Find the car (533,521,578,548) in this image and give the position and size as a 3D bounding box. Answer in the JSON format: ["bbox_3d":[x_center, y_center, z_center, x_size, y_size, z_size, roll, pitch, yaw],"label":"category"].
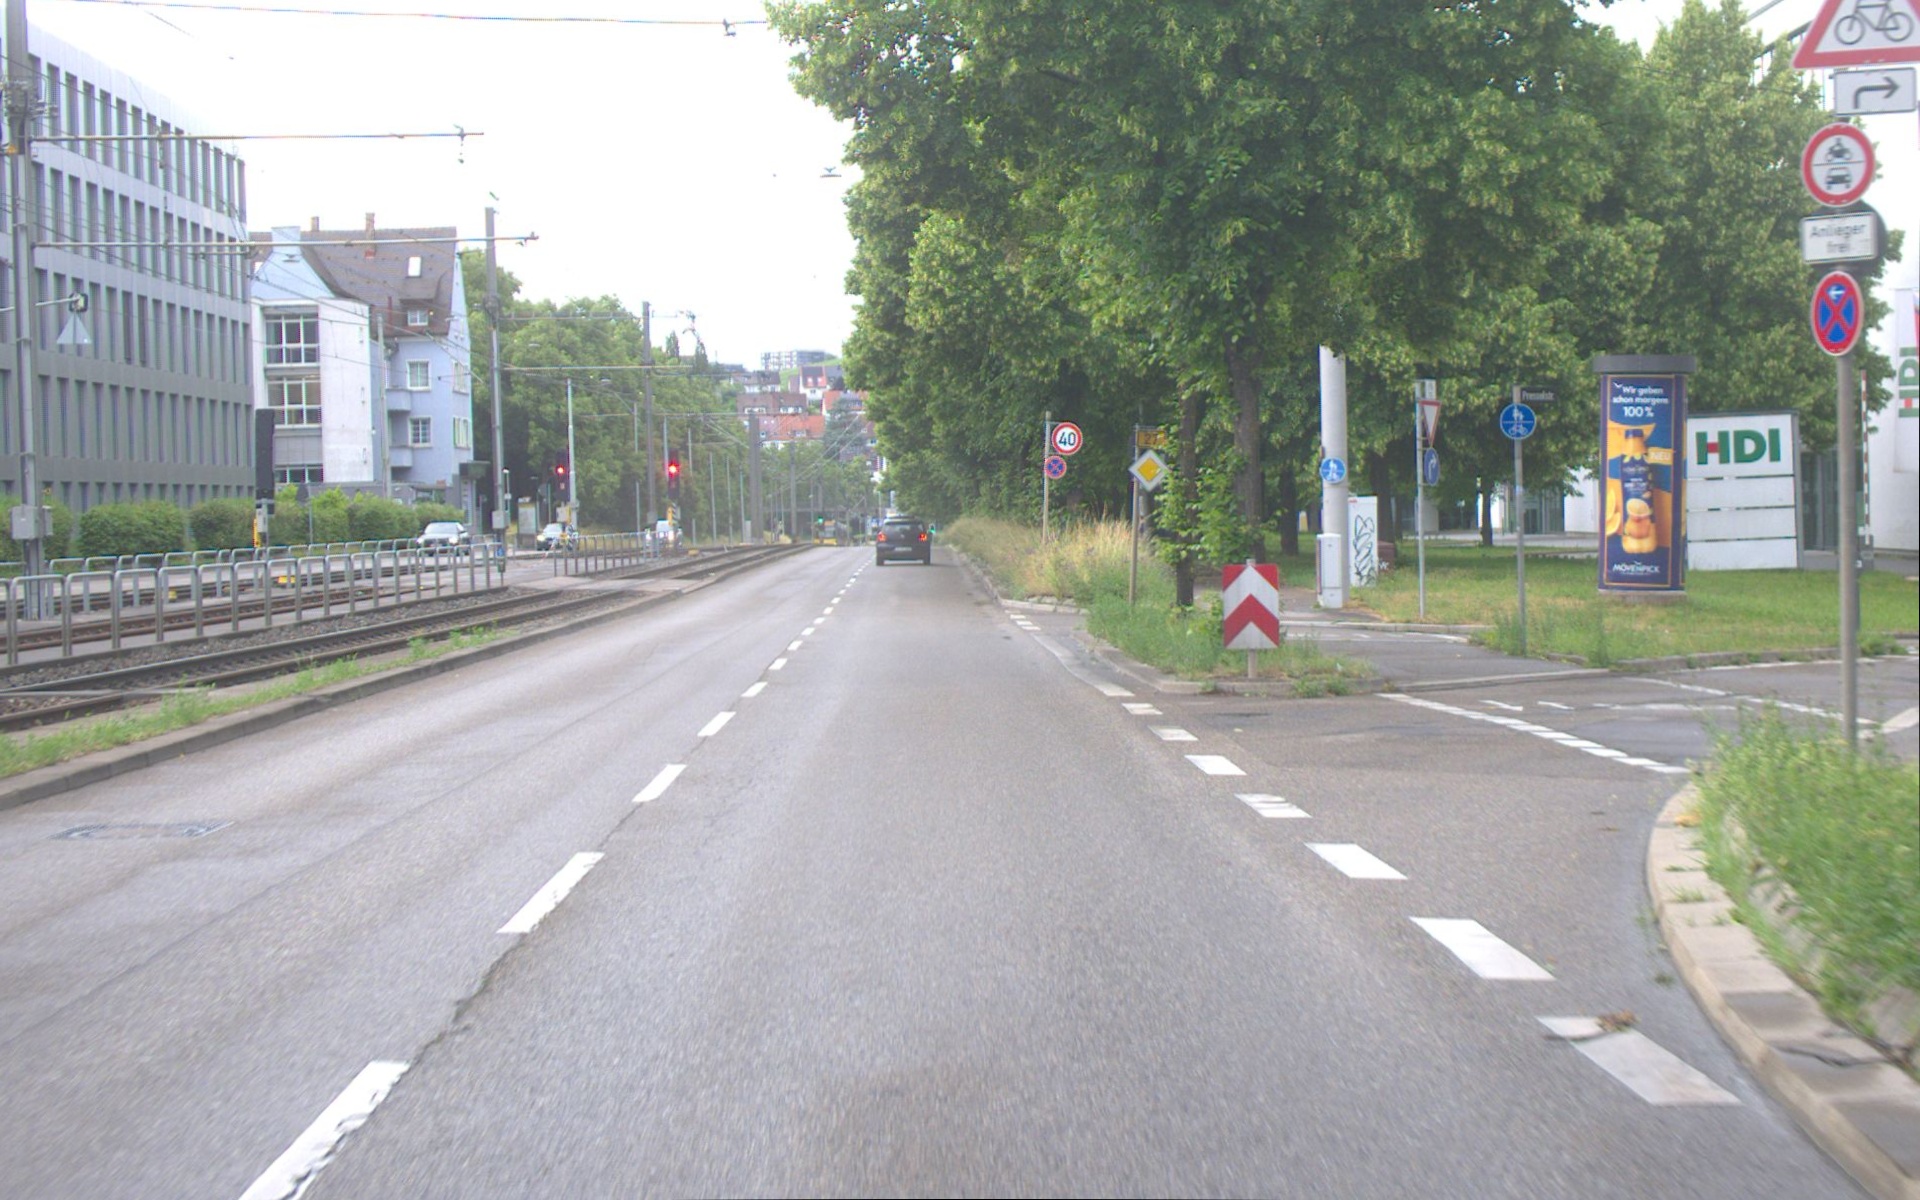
[{"bbox_3d":[-20.608,-3.347,175.409,1.798,1.342,4.260,-1,1,0],"label":"car"}]

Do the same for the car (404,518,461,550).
[{"bbox_3d":[-21.647,-2.733,141.225,1.756,1.239,3.988,-1,1,0],"label":"car"}]

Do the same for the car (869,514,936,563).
[{"bbox_3d":[-1.761,-1.921,106.071,1.982,1.435,4.474,-1,1,0],"label":"car"}]
